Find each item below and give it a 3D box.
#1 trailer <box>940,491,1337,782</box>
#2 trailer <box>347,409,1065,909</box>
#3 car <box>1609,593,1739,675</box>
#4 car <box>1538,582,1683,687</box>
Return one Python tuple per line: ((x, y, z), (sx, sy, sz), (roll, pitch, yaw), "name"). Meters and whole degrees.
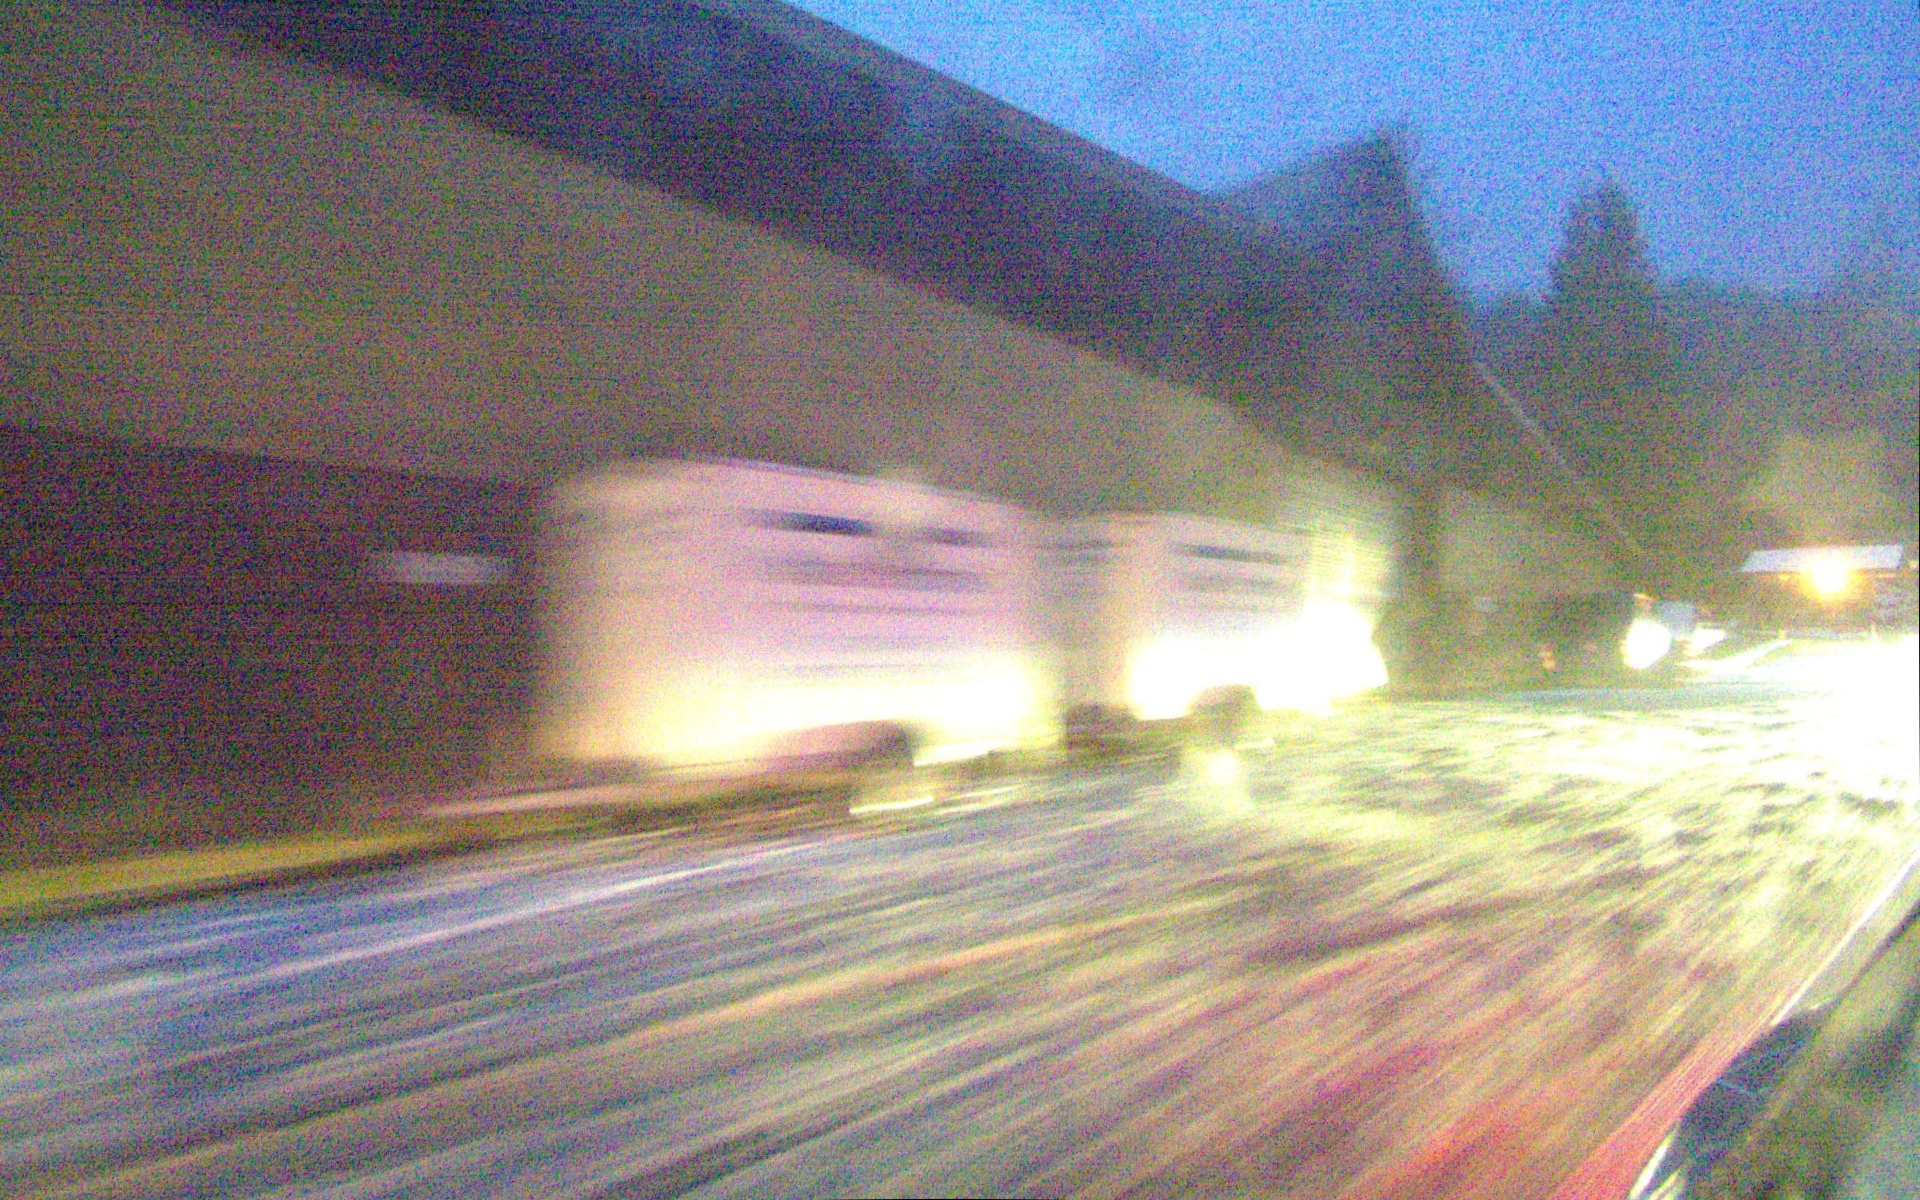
((1.985, 0.330, 10.359), (4.355, 2.383, 1.607), (0, -3, -42), "trailer")
((-1.447, 0.308, 7.011), (4.574, 2.395, 1.631), (0, -3, -43), "trailer")
((17.646, 0.776, 24.931), (4.088, 1.833, 1.879), (-1, -1, -45), "car")
((14.294, 0.688, 22.152), (1.877, 2.066, 4.322), (-2, -1, 43), "car")
